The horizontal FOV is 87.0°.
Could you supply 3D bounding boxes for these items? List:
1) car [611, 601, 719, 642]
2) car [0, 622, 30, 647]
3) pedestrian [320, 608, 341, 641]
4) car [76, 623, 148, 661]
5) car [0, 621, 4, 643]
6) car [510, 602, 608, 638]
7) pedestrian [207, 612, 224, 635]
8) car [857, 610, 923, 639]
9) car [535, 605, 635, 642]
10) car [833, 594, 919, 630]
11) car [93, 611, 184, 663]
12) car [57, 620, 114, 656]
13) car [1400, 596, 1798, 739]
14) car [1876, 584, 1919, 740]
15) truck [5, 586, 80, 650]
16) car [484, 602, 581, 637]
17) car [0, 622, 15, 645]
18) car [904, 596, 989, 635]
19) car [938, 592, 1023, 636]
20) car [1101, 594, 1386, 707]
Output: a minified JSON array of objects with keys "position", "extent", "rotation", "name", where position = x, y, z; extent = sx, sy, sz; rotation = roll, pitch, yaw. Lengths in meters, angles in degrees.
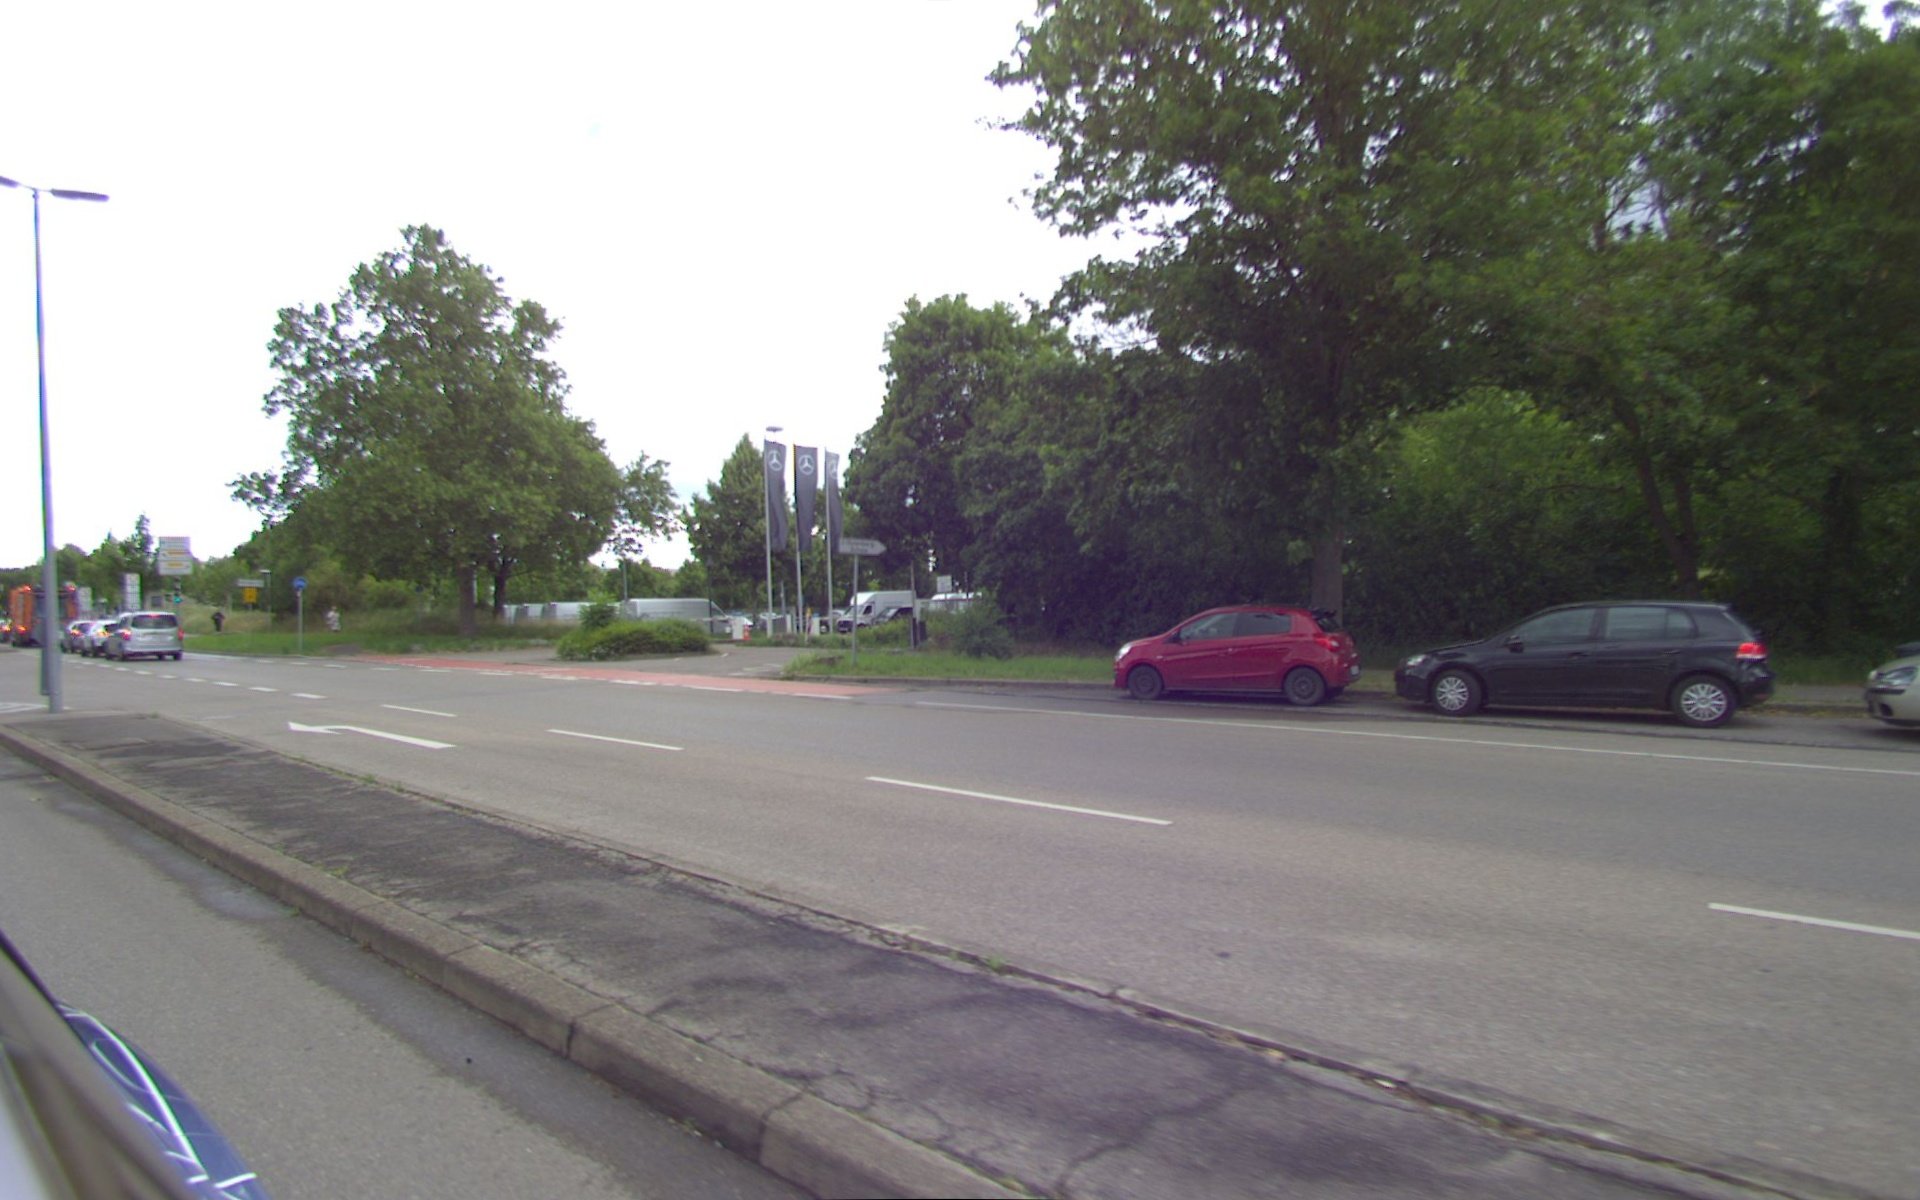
[{"position":[-15.375,1.134,53.032],"extent":[2.010,2.029,5.231],"rotation":[0,-1,39],"name":"car"},{"position":[-64.518,2.338,68.909],"extent":[3.352,1.630,1.570],"rotation":[-2,-1,45],"name":"car"},{"position":[-34.883,1.350,56.067],"extent":[0.637,1.750,0.749],"rotation":[-1,1,32],"name":"pedestrian"},{"position":[-35.301,1.703,42.093],"extent":[4.121,1.497,1.710],"rotation":[-1,-2,41],"name":"car"},{"position":[-75.805,2.518,78.997],"extent":[3.585,1.630,1.570],"rotation":[-2,-1,45],"name":"car"},{"position":[-23.884,1.204,60.420],"extent":[1.738,2.029,5.231],"rotation":[0,-1,39],"name":"car"},{"position":[-48.957,1.537,66.565],"extent":[0.639,1.458,0.747],"rotation":[0,1,40],"name":"pedestrian"},{"position":[-4.975,1.704,72.527],"extent":[1.997,1.820,4.885],"rotation":[0,1,37],"name":"car"},{"position":[-21.546,1.350,58.395],"extent":[1.738,2.029,5.229],"rotation":[0,-1,40],"name":"car"},{"position":[-6.169,0.840,75.004],"extent":[1.999,2.431,6.867],"rotation":[0,1,41],"name":"car"},{"position":[-30.794,1.351,37.887],"extent":[4.403,1.783,1.810],"rotation":[-1,0,40],"name":"car"},{"position":[-41.129,1.771,47.575],"extent":[3.350,1.574,1.618],"rotation":[-1,-1,41],"name":"car"},{"position":[7.874,0.758,12.848],"extent":[3.986,1.518,1.861],"rotation":[-1,1,32],"name":"car"},{"position":[11.434,0.578,9.523],"extent":[4.053,1.518,1.856],"rotation":[-1,1,40],"name":"car"},{"position":[-53.419,1.024,58.834],"extent":[7.826,3.507,2.793],"rotation":[-1,0,44],"name":"truck"},{"position":[-25.961,1.194,61.571],"extent":[1.738,2.029,5.231],"rotation":[0,-1,39],"name":"car"},{"position":[-70.873,2.459,74.634],"extent":[3.585,1.630,1.570],"rotation":[-2,-1,45],"name":"car"},{"position":[-0.817,1.012,69.119],"extent":[1.997,2.431,6.876],"rotation":[0,1,37],"name":"car"},{"position":[1.427,0.863,67.222],"extent":[1.997,2.706,6.876],"rotation":[0,1,37],"name":"car"},{"position":[4.374,0.732,15.769],"extent":[3.878,1.518,1.860],"rotation":[-1,0,34],"name":"car"}]
